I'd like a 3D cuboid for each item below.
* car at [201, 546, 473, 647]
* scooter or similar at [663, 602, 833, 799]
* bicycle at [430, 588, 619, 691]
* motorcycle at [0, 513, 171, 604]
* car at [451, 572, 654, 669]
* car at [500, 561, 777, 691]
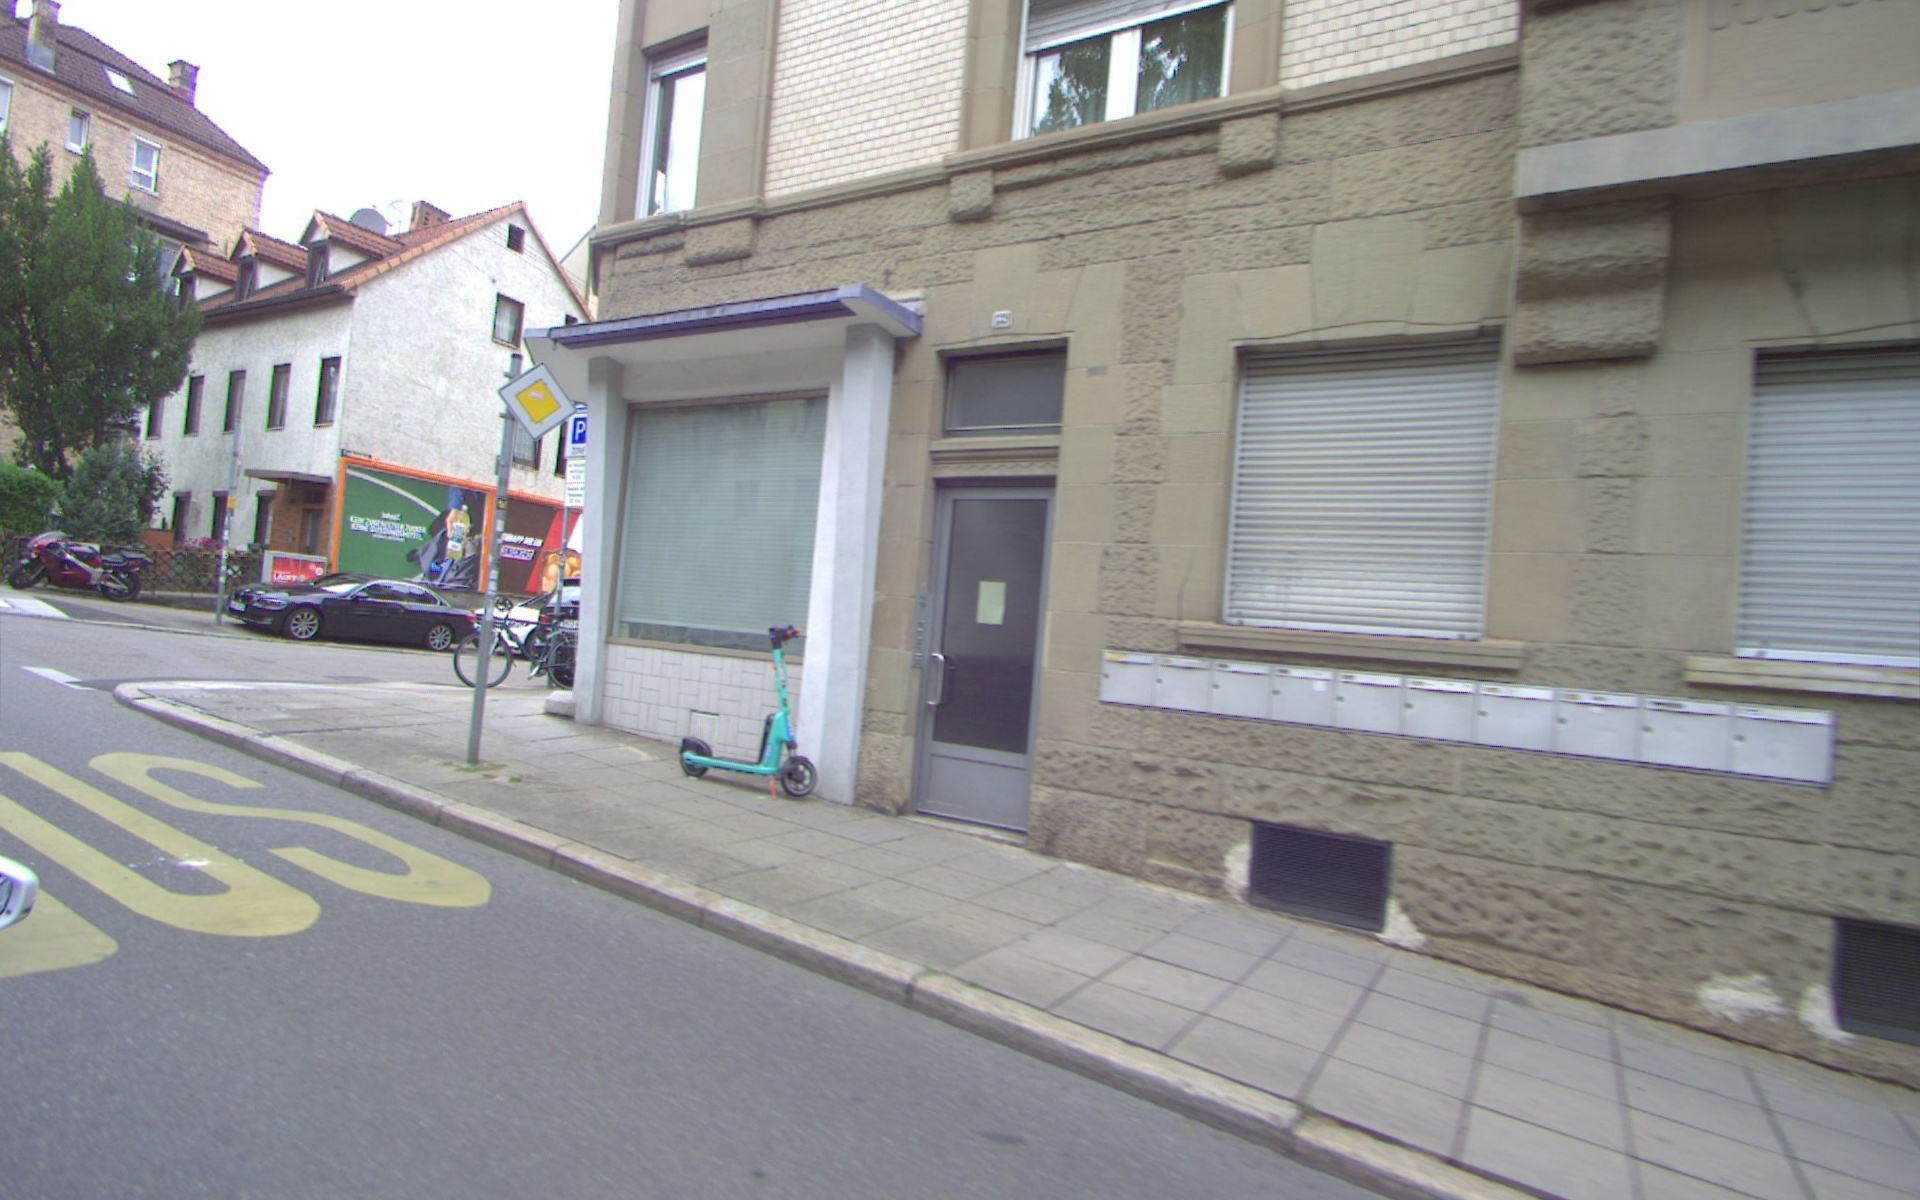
[{"bbox_3d":[-12.157,-0.003,19.928,1.752,1.300,4.136,10,-1,29],"label":"car"},{"bbox_3d":[-1.589,0.714,7.476,1.126,1.226,0.410,10,4,31],"label":"scooter or similar"},{"bbox_3d":[-5.481,0.524,12.777,2.040,1.152,0.641,4,-3,-13],"label":"bicycle"},{"bbox_3d":[-15.984,-0.735,18.431,0.992,1.282,2.063,7,-3,27],"label":"motorcycle"},{"bbox_3d":[-9.801,0.573,24.601,1.842,1.681,4.319,9,-3,26],"label":"car"},{"bbox_3d":[-4.796,0.522,15.788,1.754,1.663,4.382,2,-4,20],"label":"car"}]
